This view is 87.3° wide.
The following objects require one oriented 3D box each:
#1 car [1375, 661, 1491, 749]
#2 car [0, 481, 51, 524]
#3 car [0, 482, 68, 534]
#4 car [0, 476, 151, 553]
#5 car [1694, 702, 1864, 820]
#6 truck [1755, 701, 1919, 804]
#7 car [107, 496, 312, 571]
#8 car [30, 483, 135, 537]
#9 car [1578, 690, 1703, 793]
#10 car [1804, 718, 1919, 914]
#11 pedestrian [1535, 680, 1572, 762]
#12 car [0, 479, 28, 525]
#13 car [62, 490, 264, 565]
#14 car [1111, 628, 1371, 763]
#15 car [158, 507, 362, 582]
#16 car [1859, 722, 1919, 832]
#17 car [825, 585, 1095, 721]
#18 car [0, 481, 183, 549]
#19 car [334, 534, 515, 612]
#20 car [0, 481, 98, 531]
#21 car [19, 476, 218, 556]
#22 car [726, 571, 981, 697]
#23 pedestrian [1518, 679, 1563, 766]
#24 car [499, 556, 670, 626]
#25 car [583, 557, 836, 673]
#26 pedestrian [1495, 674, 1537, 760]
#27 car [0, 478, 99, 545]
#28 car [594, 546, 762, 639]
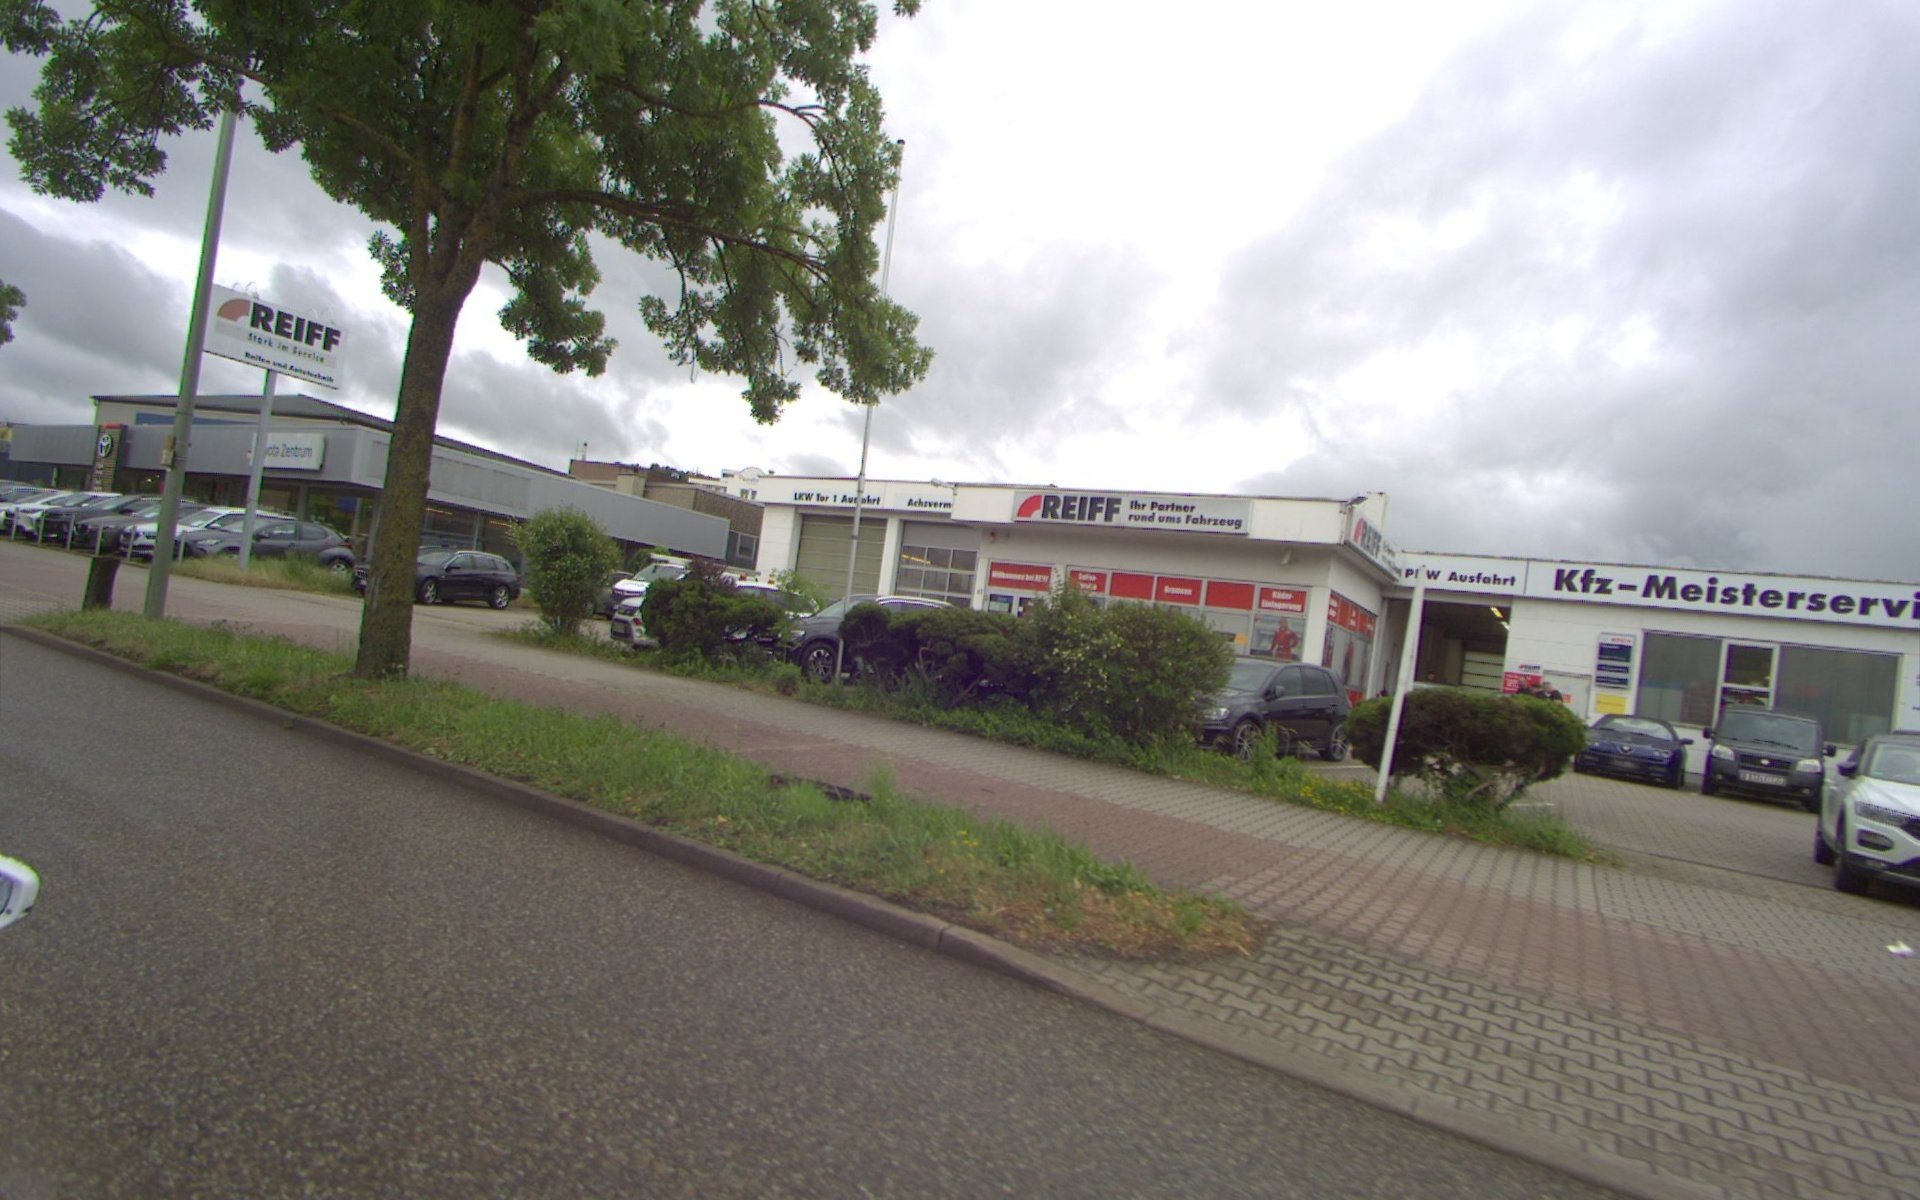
[{"bbox_3d":[10.282,2.274,21.735,1.757,1.495,3.855,6,-2,31],"label":"car"},{"bbox_3d":[-42.433,-4.444,43.569,1.850,1.641,4.113,7,0,33],"label":"car"},{"bbox_3d":[-33.404,-3.300,34.397,1.682,1.567,3.989,7,1,31],"label":"car"},{"bbox_3d":[-28.367,-2.702,31.692,1.782,1.807,3.994,7,-1,31],"label":"car"},{"bbox_3d":[15.291,2.921,19.015,1.926,1.700,3.991,7,-1,34],"label":"car"},{"bbox_3d":[40.100,6.829,43.832,8.035,3.566,2.278,6,-3,33],"label":"truck"},{"bbox_3d":[-19.957,-1.741,26.922,1.782,1.564,3.987,7,2,31],"label":"car"},{"bbox_3d":[-35.003,-3.587,40.127,4.053,1.642,1.877,7,0,30],"label":"car"},{"bbox_3d":[13.570,2.754,20.204,1.747,1.598,3.992,7,-1,33],"label":"car"},{"bbox_3d":[9.716,2.120,9.859,1.861,1.570,4.176,7,-2,38],"label":"car"},{"bbox_3d":[13.602,2.772,23.053,0.497,1.806,0.514,7,-1,36],"label":"pedestrian"},{"bbox_3d":[-35.483,-3.642,35.216,1.637,1.586,3.844,7,2,26],"label":"car"},{"bbox_3d":[-21.944,-1.957,27.860,1.782,1.606,3.988,7,2,31],"label":"car"},{"bbox_3d":[4.171,1.428,14.587,3.976,1.540,1.697,8,-1,-43],"label":"car"},{"bbox_3d":[-17.763,-1.375,25.707,1.796,1.481,3.836,7,2,29],"label":"car"},{"bbox_3d":[17.022,3.116,17.262,1.928,1.699,3.988,7,-2,38],"label":"car"},{"bbox_3d":[0.077,0.926,16.784,4.125,1.683,1.801,9,0,-39],"label":"car"},{"bbox_3d":[-26.179,-2.512,30.278,1.780,1.609,3.989,8,4,28],"label":"car"},{"bbox_3d":[-13.635,-0.638,25.846,1.761,1.481,3.690,7,-1,24],"label":"car"},{"bbox_3d":[-38.625,-3.980,42.602,4.053,1.642,1.877,7,0,30],"label":"car"},{"bbox_3d":[-23.960,-2.360,28.782,1.782,1.810,3.987,7,3,31],"label":"car"},{"bbox_3d":[-1.879,0.657,18.295,4.122,1.683,1.802,9,0,-37],"label":"car"},{"bbox_3d":[12.110,2.552,20.994,0.506,1.725,0.439,7,0,5],"label":"pedestrian"},{"bbox_3d":[-11.585,-0.228,31.363,1.967,1.515,4.662,7,-2,31],"label":"car"},{"bbox_3d":[-4.643,0.320,18.902,4.039,1.616,1.962,8,-1,-40],"label":"car"},{"bbox_3d":[12.125,2.544,21.938,0.436,1.806,0.510,7,-1,-44],"label":"pedestrian"},{"bbox_3d":[-31.367,-3.061,33.207,1.782,1.807,3.994,7,-1,31],"label":"car"},{"bbox_3d":[-8.329,-0.147,30.157,1.931,2.175,4.664,7,-1,29],"label":"car"}]
